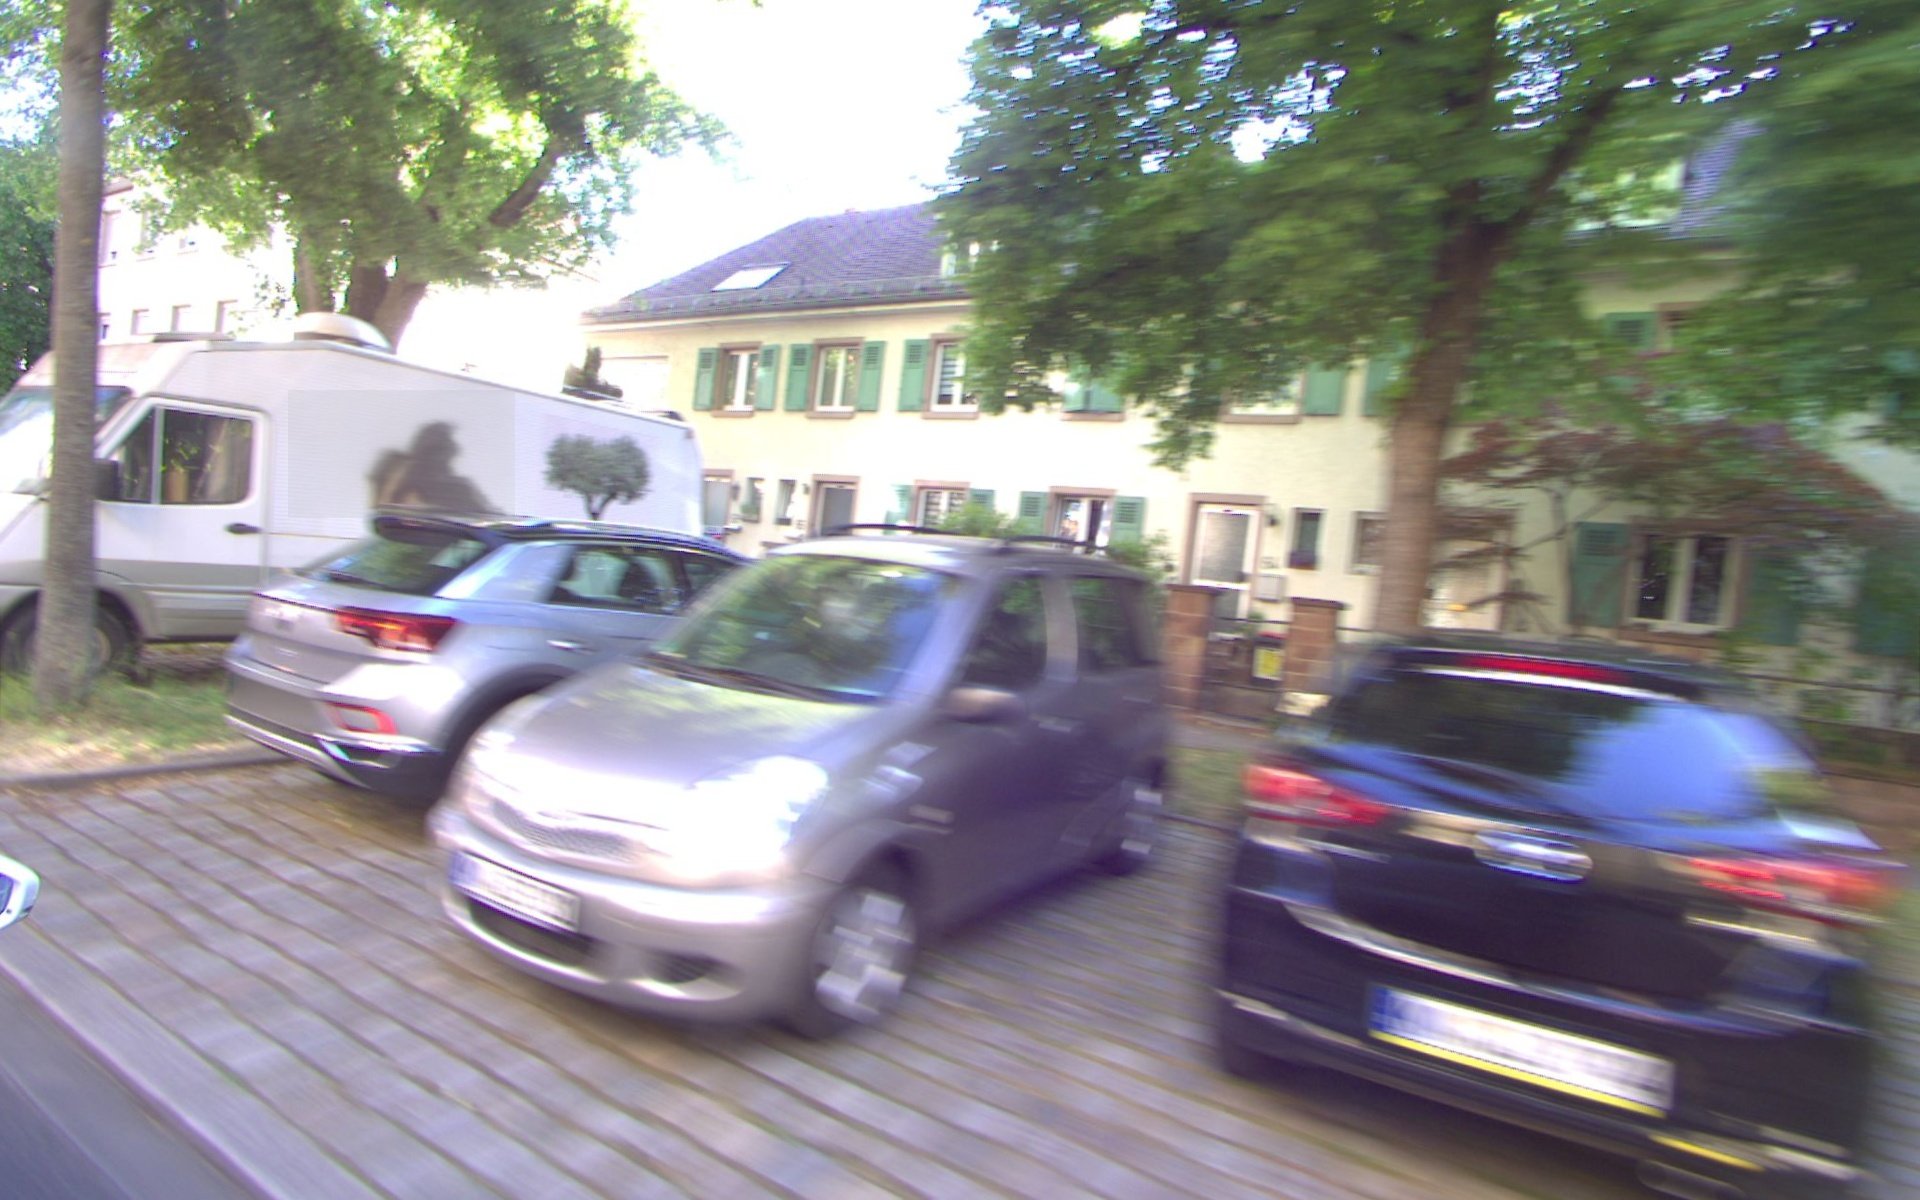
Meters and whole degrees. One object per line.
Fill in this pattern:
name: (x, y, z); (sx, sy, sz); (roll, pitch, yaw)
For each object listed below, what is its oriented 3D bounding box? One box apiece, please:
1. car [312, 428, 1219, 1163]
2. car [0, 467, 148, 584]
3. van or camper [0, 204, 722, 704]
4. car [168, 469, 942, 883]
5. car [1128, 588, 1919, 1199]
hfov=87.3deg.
car: (-0.344, 0.456, 4.517); (1.700, 1.767, 3.915); (7, 2, 31)
car: (-14.204, -1.190, 14.422); (1.650, 1.525, 3.591); (8, 2, 32)
van or camper: (-5.737, -0.839, 9.409); (2.422, 3.116, 7.088); (7, 0, 29)
car: (-2.066, 0.289, 6.146); (1.873, 1.620, 3.960); (6, 2, 34)
car: (2.152, 0.846, 3.968); (1.756, 1.492, 3.880); (6, 2, 26)
